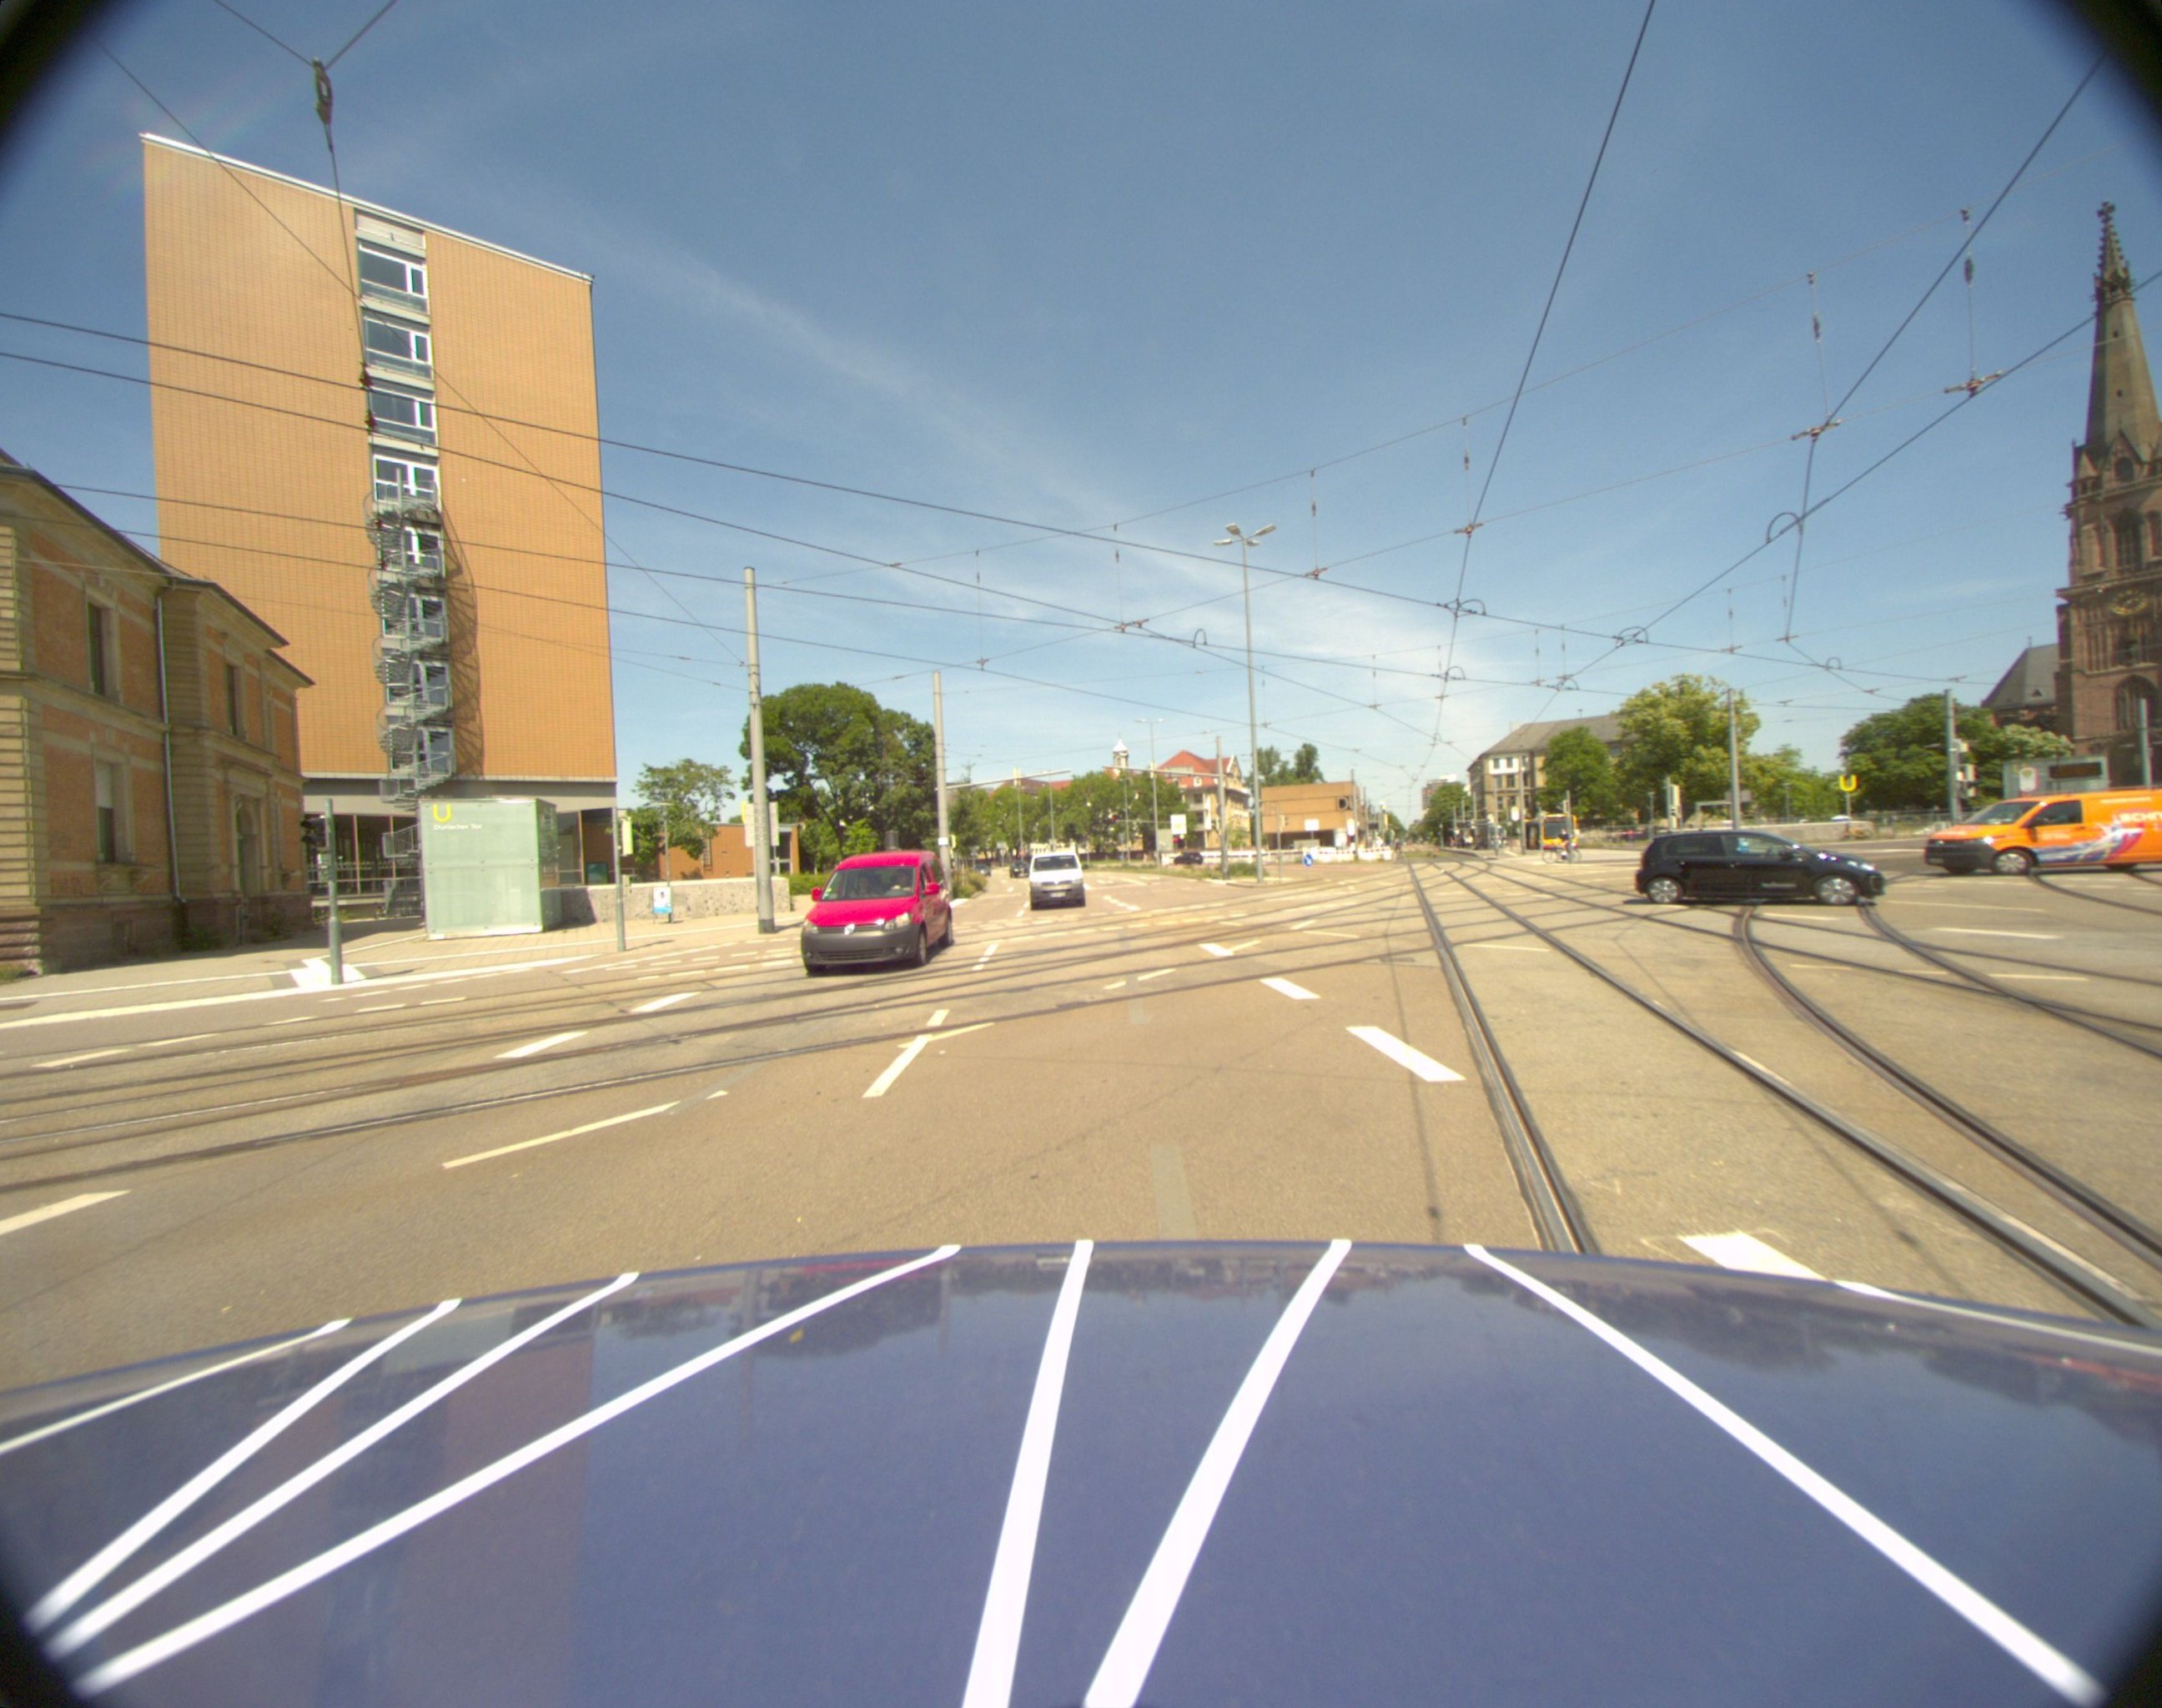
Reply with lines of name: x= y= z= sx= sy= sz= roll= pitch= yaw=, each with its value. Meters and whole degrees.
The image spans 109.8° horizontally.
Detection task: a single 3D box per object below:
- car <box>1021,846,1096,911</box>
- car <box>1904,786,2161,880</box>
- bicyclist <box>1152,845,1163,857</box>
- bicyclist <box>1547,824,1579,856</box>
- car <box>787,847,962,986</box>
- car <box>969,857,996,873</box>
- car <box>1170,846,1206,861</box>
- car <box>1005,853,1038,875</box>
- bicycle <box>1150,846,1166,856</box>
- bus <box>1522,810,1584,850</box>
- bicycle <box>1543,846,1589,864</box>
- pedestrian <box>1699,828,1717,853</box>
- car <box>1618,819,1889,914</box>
car: x=-0.685 y=0.792 z=27.234 sx=1.970 sy=1.958 sz=4.850 roll=-4 pitch=1 yaw=5
car: x=24.132 y=-0.505 z=18.726 sx=4.862 sy=2.045 sz=2.002 roll=-3 pitch=0 yaw=16
bicyclist: x=8.923 y=-0.391 z=88.845 sx=0.587 sy=1.348 sz=1.437 roll=-5 pitch=2 yaw=-19
bicyclist: x=24.504 y=-0.702 z=38.639 sx=1.253 sy=1.521 sz=0.438 roll=-5 pitch=2 yaw=-1
car: x=-3.247 y=0.862 z=12.903 sx=1.655 sy=1.848 sz=4.545 roll=-4 pitch=0 yaw=-1
car: x=-11.513 y=1.264 z=88.795 sx=2.002 sy=1.740 sz=3.992 roll=-5 pitch=1 yaw=-23
car: x=11.721 y=-0.050 z=83.470 sx=2.001 sy=1.456 sz=4.839 roll=-3 pitch=0 yaw=-16
car: x=-5.972 y=1.029 z=75.582 sx=2.002 sy=2.002 sz=3.993 roll=-3 pitch=0 yaw=-23
bicycle: x=8.970 y=-0.292 z=88.805 sx=0.879 sy=1.066 sz=2.228 roll=-5 pitch=1 yaw=-19
bus: x=41.352 y=-2.058 z=66.929 sx=2.850 sy=2.998 sz=12.239 roll=-3 pitch=0 yaw=24
bicycle: x=24.625 y=0.049 z=38.580 sx=1.899 sy=0.850 sz=0.628 roll=-3 pitch=0 yaw=-1
pedestrian: x=34.806 y=-0.762 z=42.202 sx=0.526 sy=1.326 sz=1.000 roll=-2 pitch=1 yaw=28
car: x=13.006 y=0.275 z=14.850 sx=1.752 sy=1.567 sz=3.728 roll=-5 pitch=1 yaw=-42
